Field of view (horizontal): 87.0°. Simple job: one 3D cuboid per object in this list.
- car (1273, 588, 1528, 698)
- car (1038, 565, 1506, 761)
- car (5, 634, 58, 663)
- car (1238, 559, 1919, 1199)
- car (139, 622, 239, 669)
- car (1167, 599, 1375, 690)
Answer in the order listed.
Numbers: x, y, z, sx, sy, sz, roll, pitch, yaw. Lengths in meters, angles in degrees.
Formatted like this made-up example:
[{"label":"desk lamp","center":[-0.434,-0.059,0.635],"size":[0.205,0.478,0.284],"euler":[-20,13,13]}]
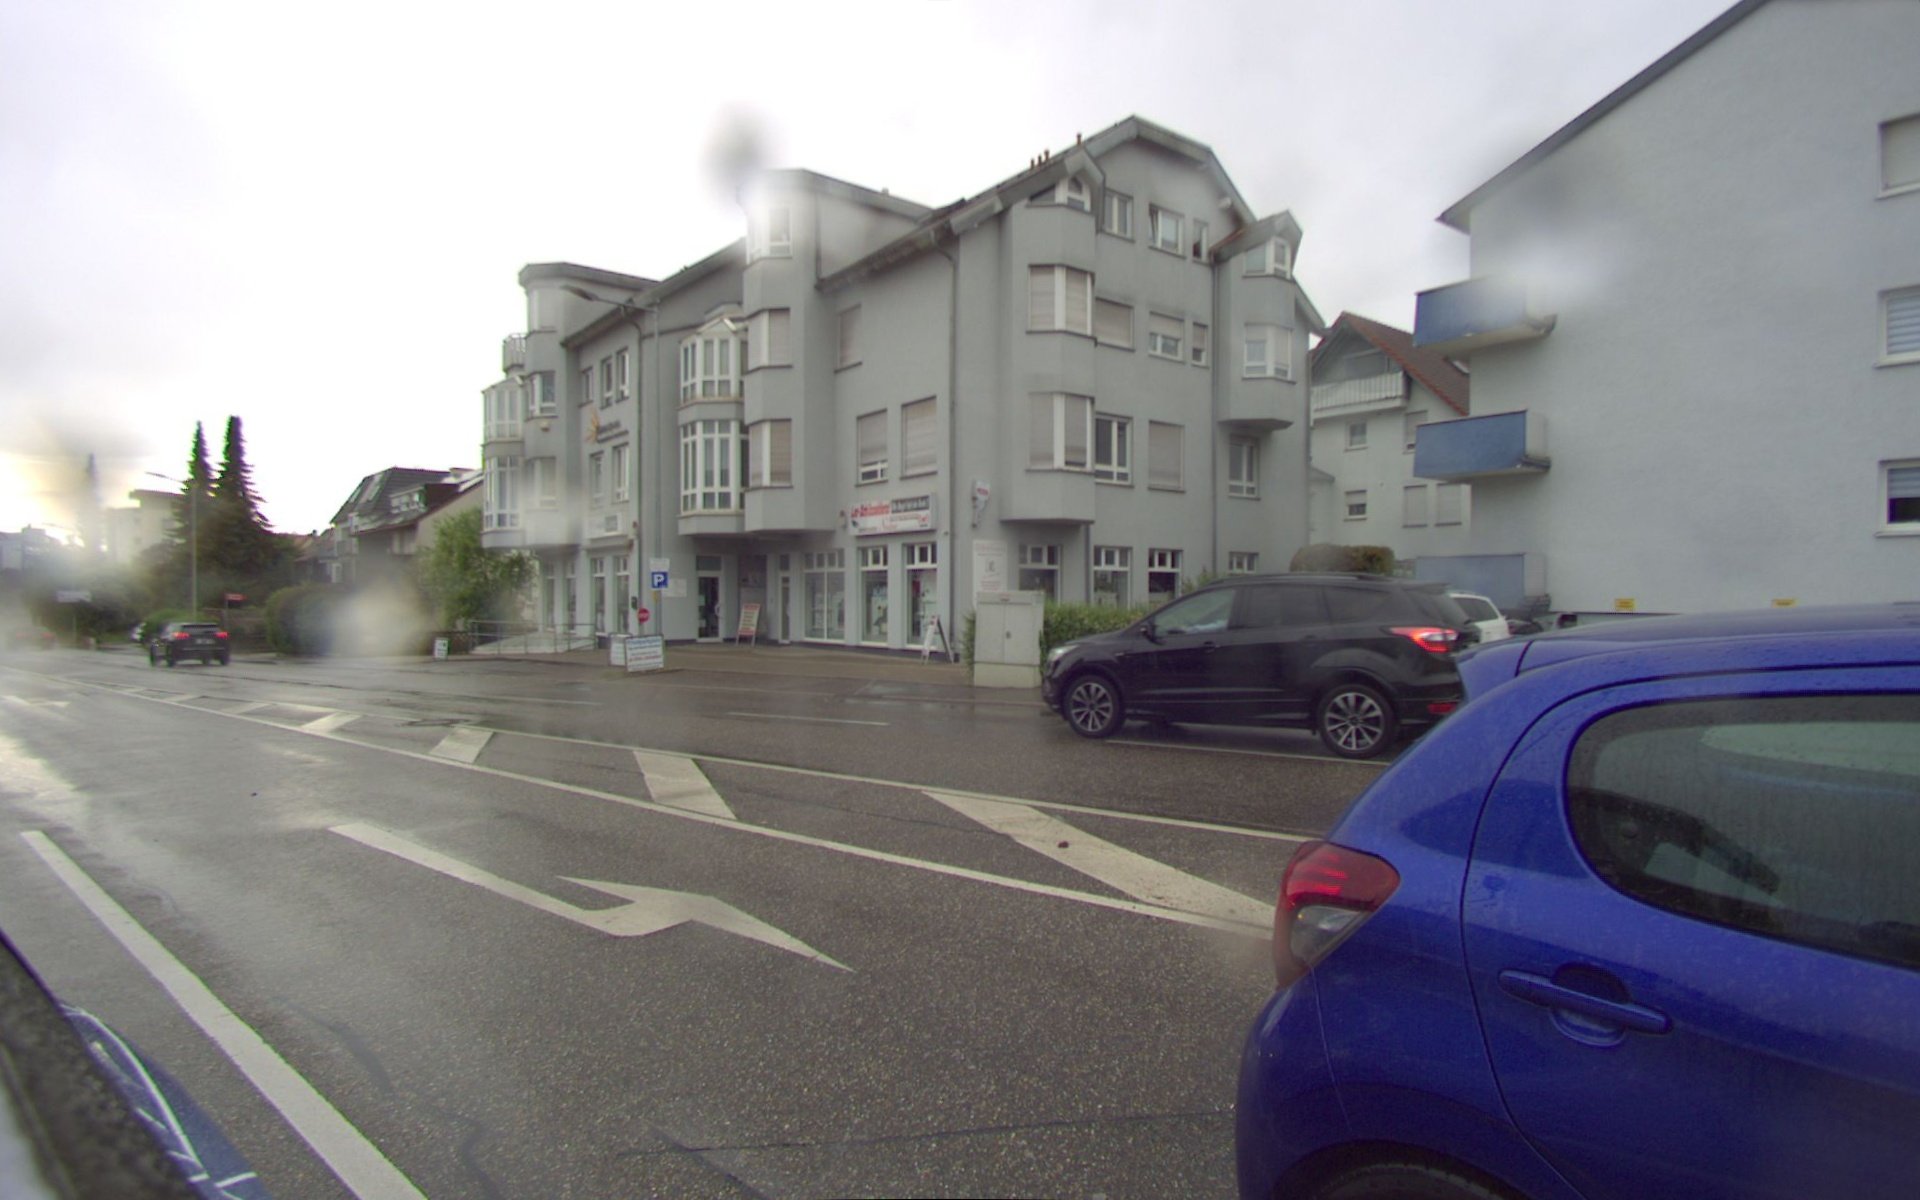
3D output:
[{"label":"car","center":[6.986,0.601,15.803],"size":[4.685,1.471,1.883],"euler":[0,-2,-42]},{"label":"car","center":[3.053,0.570,10.321],"size":[4.178,1.609,1.861],"euler":[-2,-2,38]},{"label":"car","center":[-57.336,2.957,62.477],"size":[4.537,1.637,1.973],"euler":[-2,0,41]},{"label":"car","center":[2.242,0.634,1.194],"size":[3.362,1.423,1.489],"euler":[-2,-1,41]},{"label":"car","center":[-27.664,1.585,36.287],"size":[3.995,1.523,1.948],"euler":[-1,0,39]},{"label":"car","center":[5.498,0.686,17.647],"size":[1.851,1.366,3.941],"euler":[-1,0,45]}]
